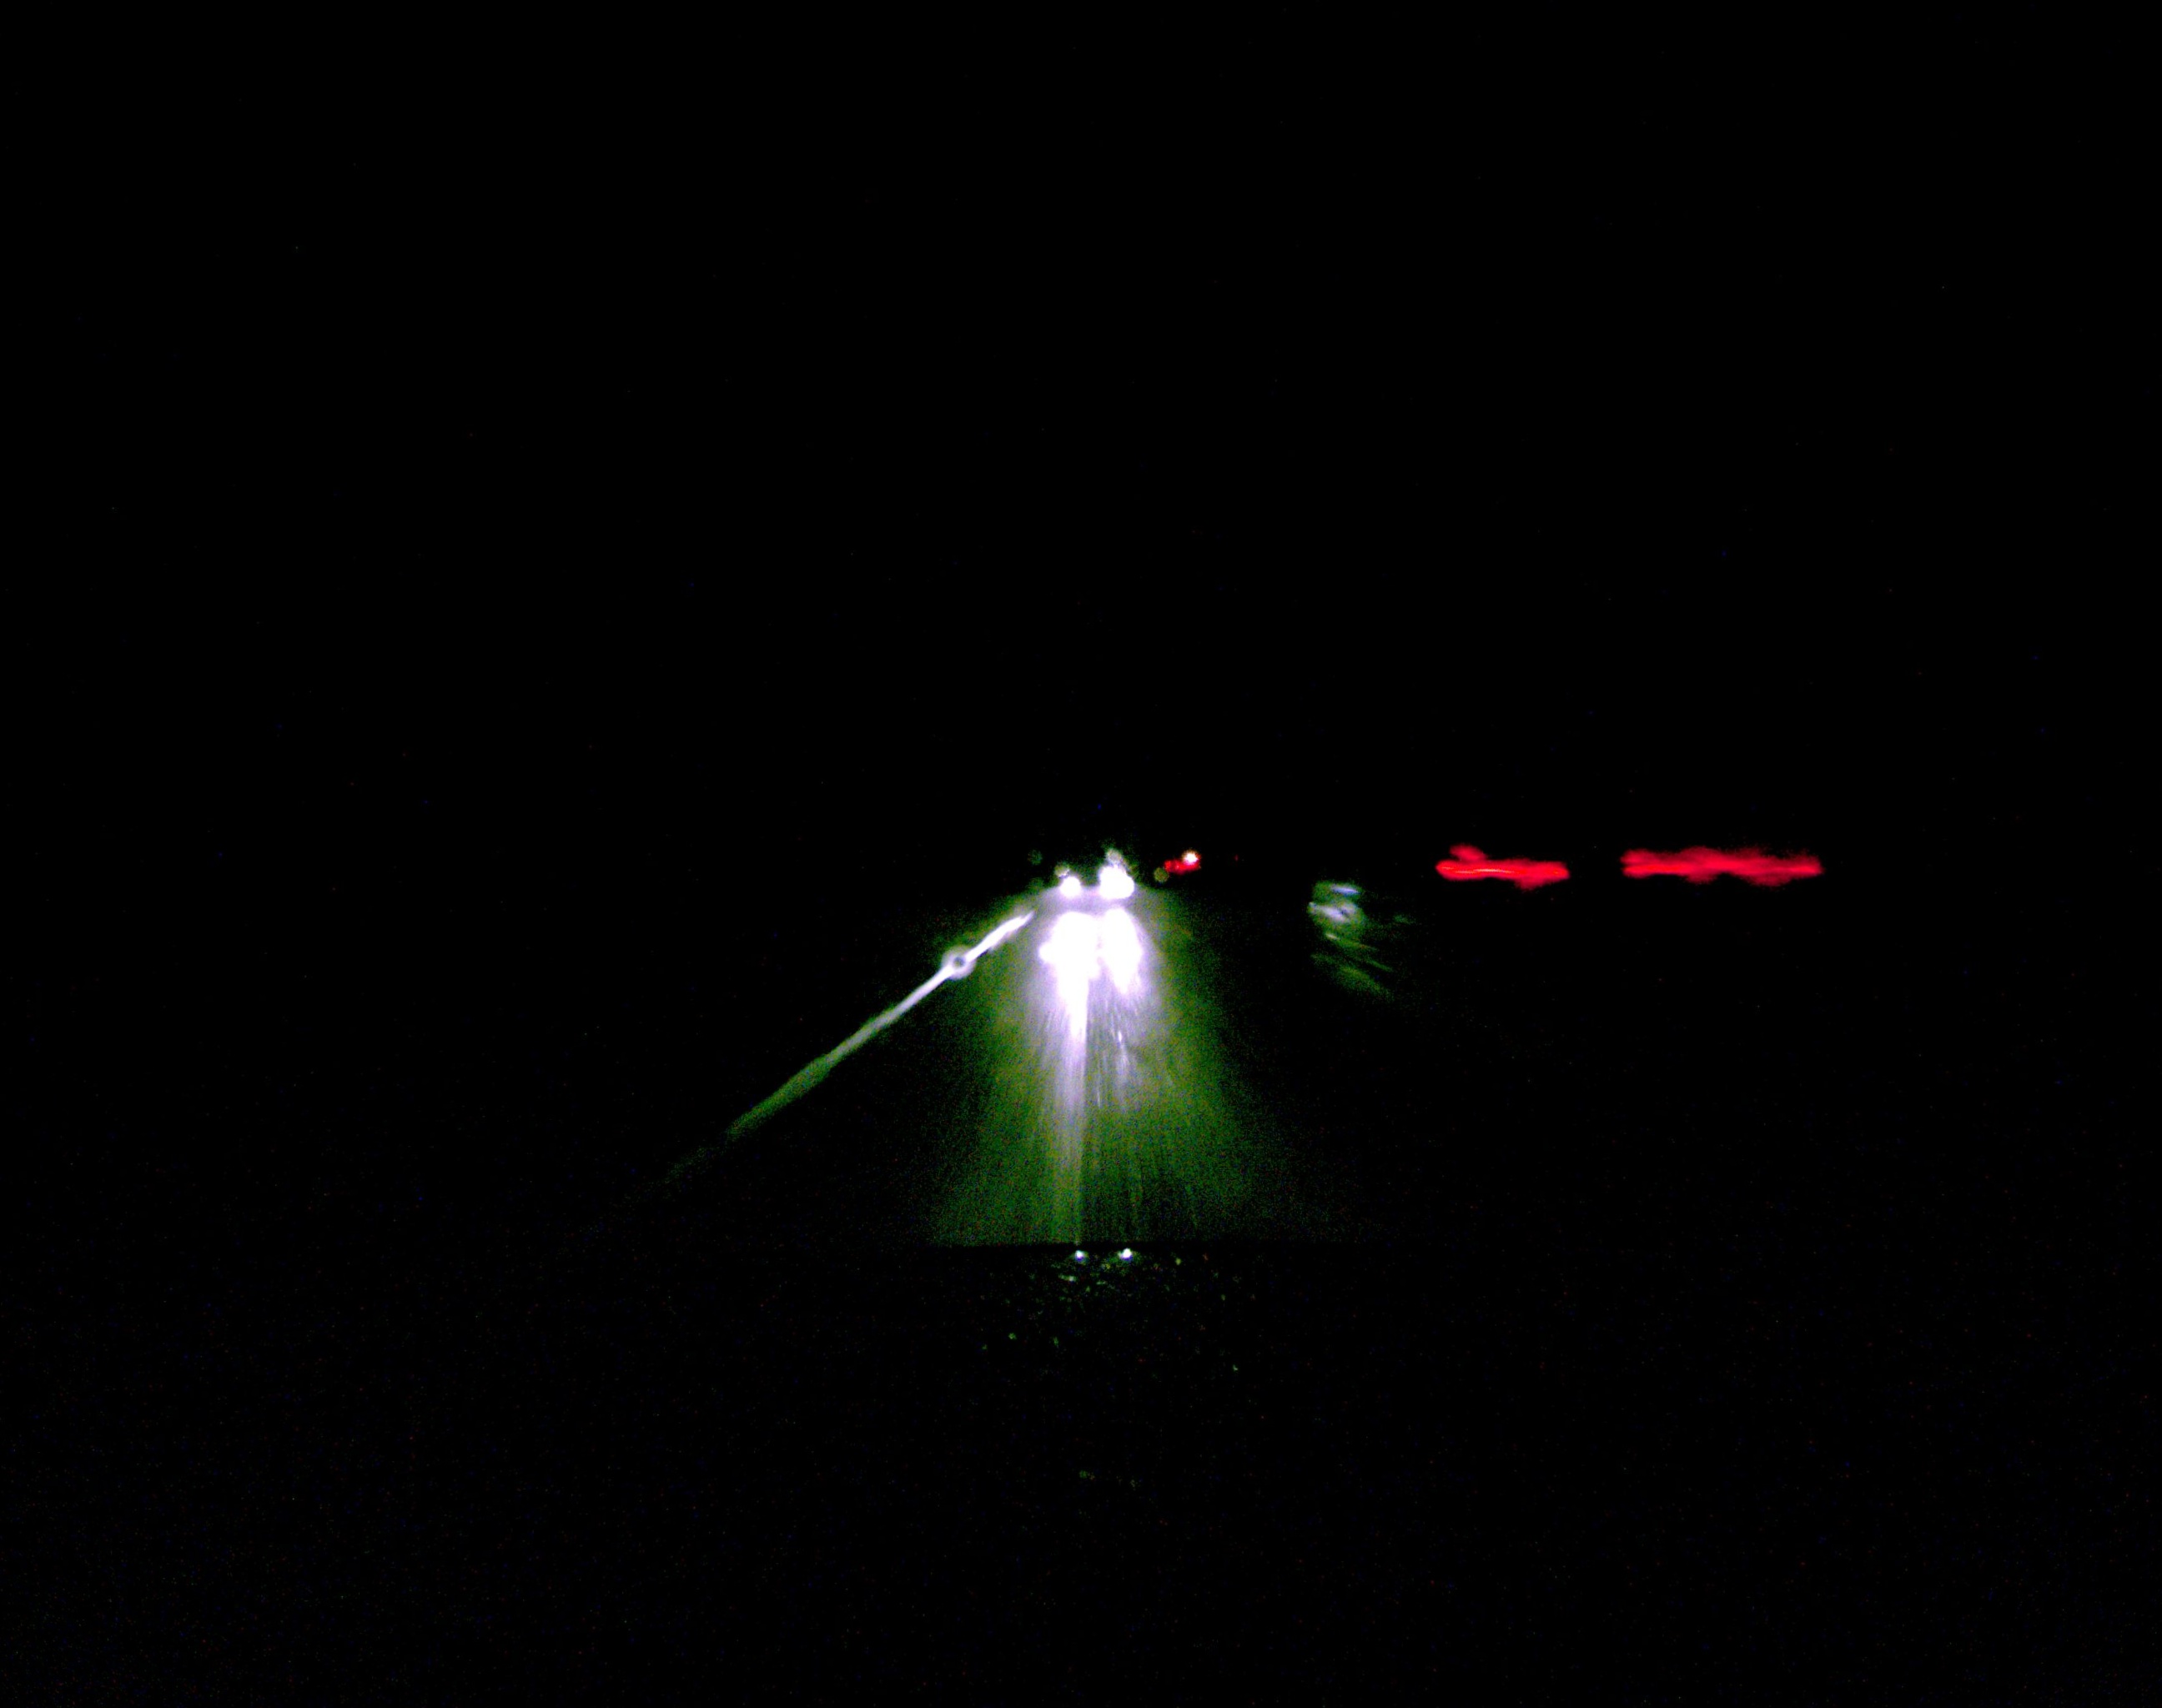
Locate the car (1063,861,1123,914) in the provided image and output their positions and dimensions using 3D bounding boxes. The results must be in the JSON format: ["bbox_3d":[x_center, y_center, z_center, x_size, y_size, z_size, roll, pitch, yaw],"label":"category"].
[{"bbox_3d":[0.370,1.037,25.149,1.744,1.501,3.600,-3,0,0],"label":"car"}]

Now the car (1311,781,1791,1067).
[{"bbox_3d":[4.009,0.504,7.601,1.999,2.002,4.456,0,0,-1],"label":"car"}]

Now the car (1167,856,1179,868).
[{"bbox_3d":[12.412,1.134,103.097,1.566,1.516,3.488,1,-1,7],"label":"car"}]

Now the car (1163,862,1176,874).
[{"bbox_3d":[11.206,1.822,96.285,1.598,1.501,3.603,1,-1,7],"label":"car"}]
